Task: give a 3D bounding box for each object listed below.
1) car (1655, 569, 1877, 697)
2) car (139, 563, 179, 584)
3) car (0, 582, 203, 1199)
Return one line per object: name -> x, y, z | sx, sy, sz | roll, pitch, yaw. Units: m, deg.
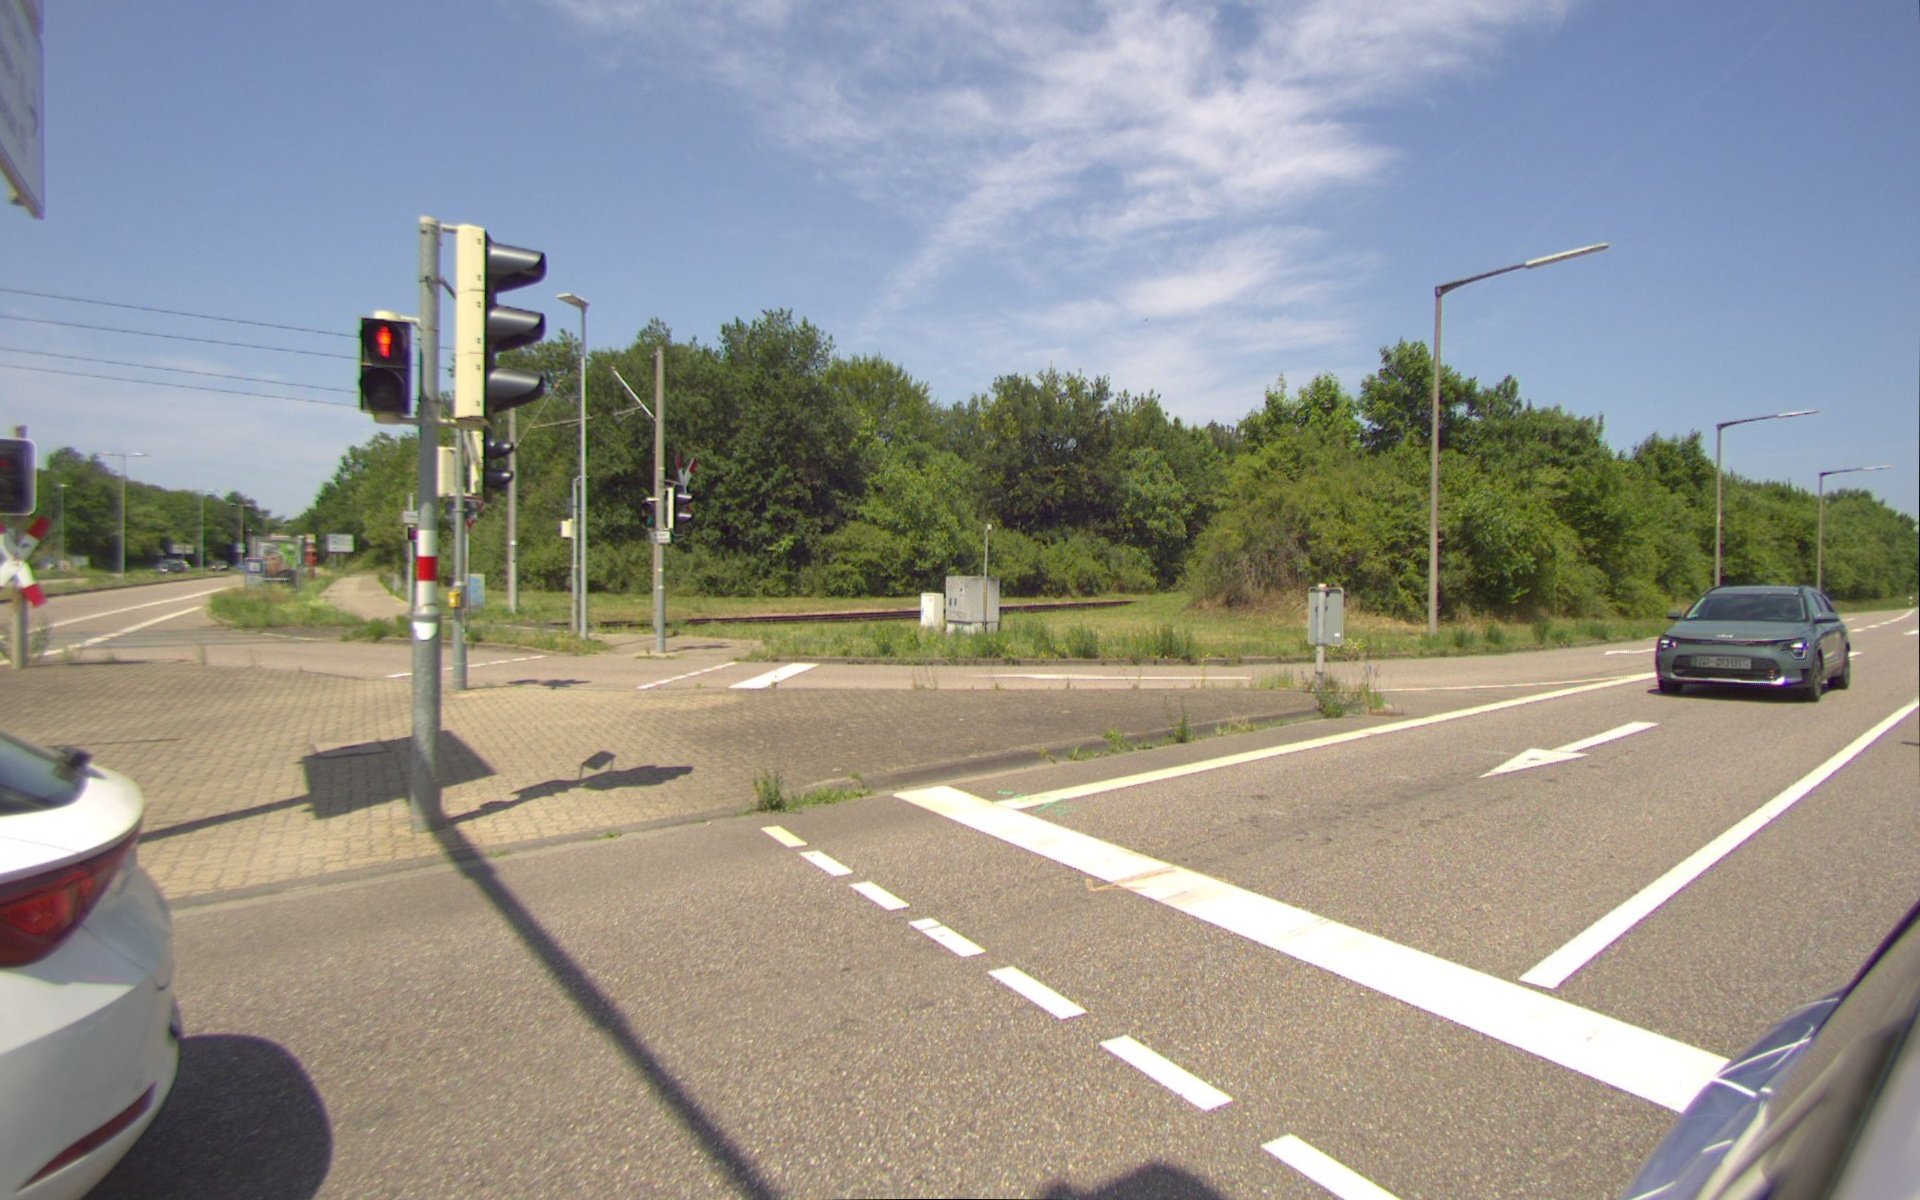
car -> 11.828, 0.379, 14.769 | 3.928, 1.616, 1.723 | 0, 2, -39
car -> -70.351, -2.355, 88.969 | 1.959, 1.812, 4.007 | 0, 1, -27
car -> -3.565, 0.688, 1.003 | 4.376, 1.407, 1.684 | -1, 1, -43
